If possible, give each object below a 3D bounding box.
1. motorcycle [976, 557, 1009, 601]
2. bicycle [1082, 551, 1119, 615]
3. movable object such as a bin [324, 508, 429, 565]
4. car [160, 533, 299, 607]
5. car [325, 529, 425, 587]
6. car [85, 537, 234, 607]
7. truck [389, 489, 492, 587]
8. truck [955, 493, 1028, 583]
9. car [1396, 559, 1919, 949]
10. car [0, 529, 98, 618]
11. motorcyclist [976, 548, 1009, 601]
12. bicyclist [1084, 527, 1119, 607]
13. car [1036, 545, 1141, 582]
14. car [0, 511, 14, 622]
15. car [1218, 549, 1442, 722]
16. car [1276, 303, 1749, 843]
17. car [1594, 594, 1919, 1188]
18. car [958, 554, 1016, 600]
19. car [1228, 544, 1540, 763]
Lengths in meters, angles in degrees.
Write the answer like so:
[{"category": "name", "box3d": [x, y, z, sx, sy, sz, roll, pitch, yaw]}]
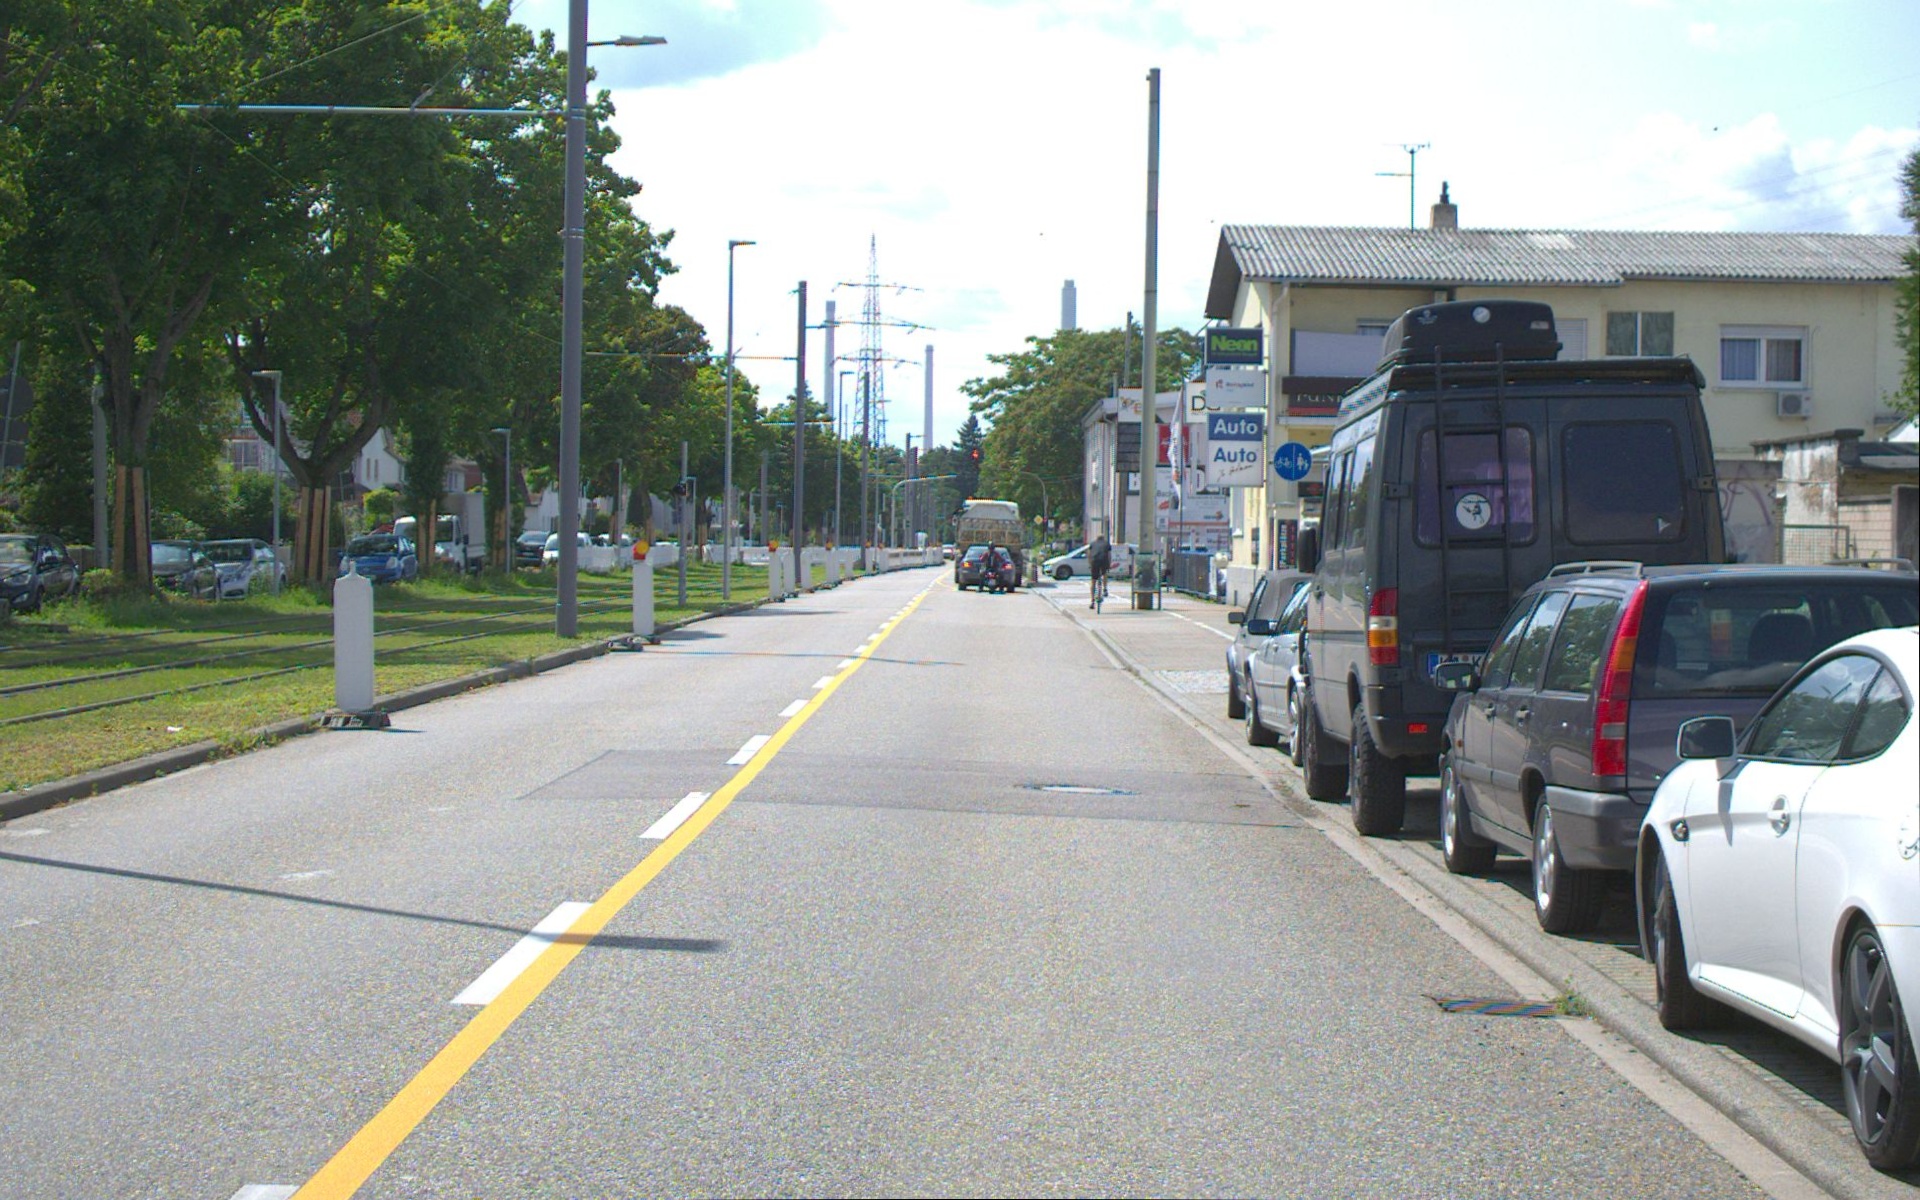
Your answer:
[{"category": "motorcycle", "box3d": [1.027, -0.660, 109.428, 0.939, 1.316, 2.645, 4, 0, 1]}, {"category": "bicycle", "box3d": [3.082, -0.387, 75.510, 0.693, 1.357, 2.418, 1, 1, 0]}, {"category": "movable object such as a bin", "box3d": [-26.328, -2.849, 155.073, 4.334, 2.441, 1.789, 1, 1, -21]}, {"category": "car", "box3d": [-15.468, -0.627, 73.010, 1.805, 1.477, 4.939, 1, 0, 1]}, {"category": "car", "box3d": [-15.372, -1.091, 90.501, 1.993, 1.448, 4.000, 1, 0, -1]}, {"category": "car", "box3d": [-15.643, -0.537, 67.358, 1.993, 1.313, 3.852, -1, 0, 0]}, {"category": "truck", "box3d": [-15.284, -1.834, 101.510, 1.993, 2.758, 6.276, -1, 1, 0]}, {"category": "truck", "box3d": [1.232, -2.401, 130.214, 2.610, 3.244, 9.182, 1, 2, 1]}, {"category": "car", "box3d": [3.034, 0.537, 14.860, 1.721, 1.397, 4.837, 1, 1, 1]}, {"category": "car", "box3d": [-15.846, -0.432, 57.167, 1.993, 1.434, 4.000, 0, 0, 0]}, {"category": "motorcyclist", "box3d": [1.038, -0.811, 109.245, 0.939, 1.609, 1.205, 4, 0, 1]}, {"category": "bicyclist", "box3d": [3.105, -0.729, 75.559, 0.671, 1.738, 0.813, 2, 1, 0]}, {"category": "car", "box3d": [5.633, -1.594, 150.893, 4.329, 1.546, 1.950, 1, 0, -7]}, {"category": "car", "box3d": [-15.481, -0.517, 50.719, 1.993, 1.685, 4.392, 1, 0, -3]}, {"category": "car", "box3d": [3.271, 0.295, 30.984, 1.651, 1.426, 4.096, 1, 0, 1]}, {"category": "car", "box3d": [3.059, -0.160, 20.075, 1.996, 2.751, 4.879, 1, 0, 1]}, {"category": "car", "box3d": [2.991, 0.652, 9.398, 1.721, 1.291, 4.129, 1, 1, 0]}, {"category": "car", "box3d": [0.899, -0.774, 113.904, 1.822, 1.419, 4.000, 2, 1, 1]}, {"category": "car", "box3d": [3.142, 0.369, 26.289, 1.691, 1.511, 4.356, 1, 0, -2]}]
